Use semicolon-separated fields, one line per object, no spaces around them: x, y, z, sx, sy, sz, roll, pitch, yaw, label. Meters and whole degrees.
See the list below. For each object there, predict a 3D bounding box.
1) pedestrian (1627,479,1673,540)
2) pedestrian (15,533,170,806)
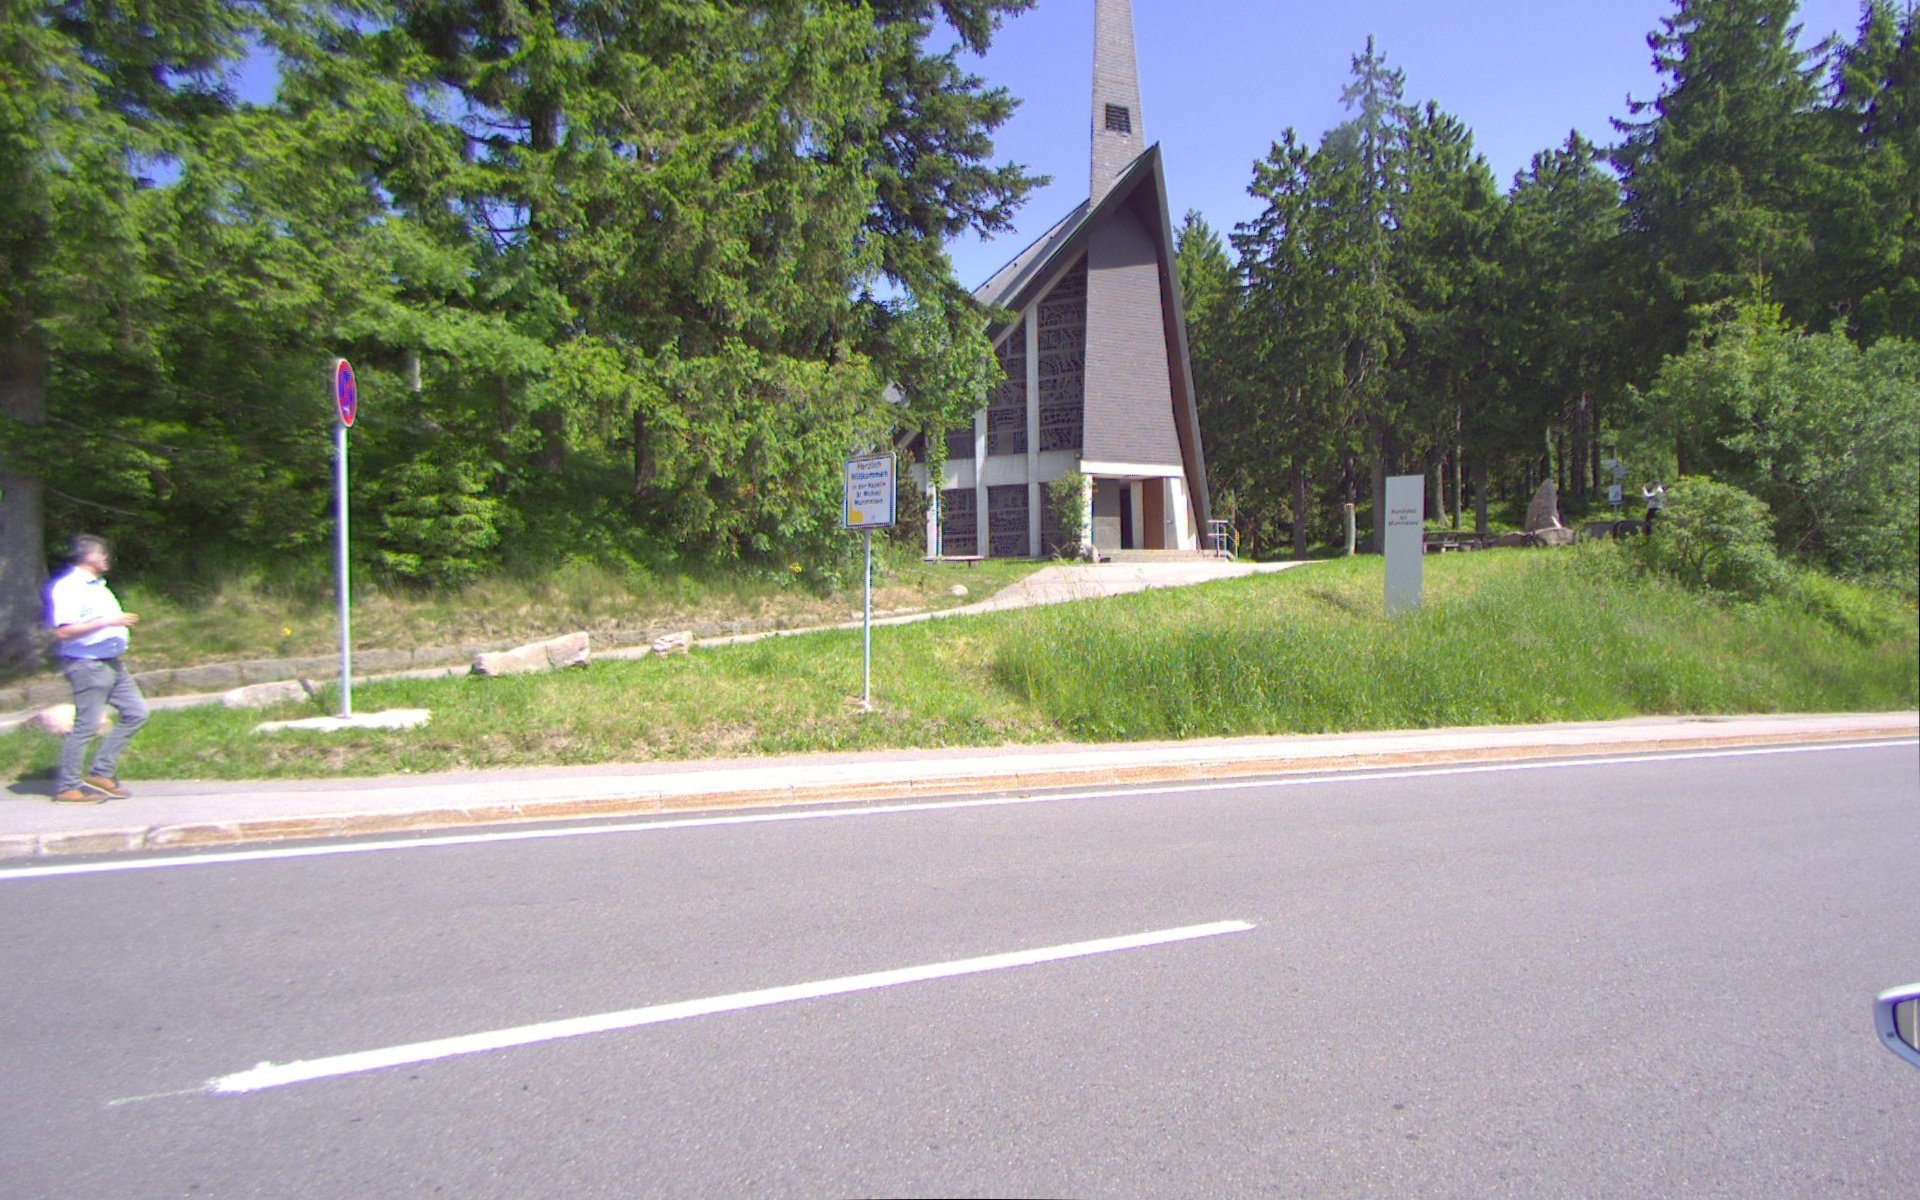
19.945;-2.592;29.035;0.733;1.651;0.806;2;0;-28;pedestrian
-5.935;0.454;6.913;0.679;1.764;0.576;1;-1;-30;pedestrian
